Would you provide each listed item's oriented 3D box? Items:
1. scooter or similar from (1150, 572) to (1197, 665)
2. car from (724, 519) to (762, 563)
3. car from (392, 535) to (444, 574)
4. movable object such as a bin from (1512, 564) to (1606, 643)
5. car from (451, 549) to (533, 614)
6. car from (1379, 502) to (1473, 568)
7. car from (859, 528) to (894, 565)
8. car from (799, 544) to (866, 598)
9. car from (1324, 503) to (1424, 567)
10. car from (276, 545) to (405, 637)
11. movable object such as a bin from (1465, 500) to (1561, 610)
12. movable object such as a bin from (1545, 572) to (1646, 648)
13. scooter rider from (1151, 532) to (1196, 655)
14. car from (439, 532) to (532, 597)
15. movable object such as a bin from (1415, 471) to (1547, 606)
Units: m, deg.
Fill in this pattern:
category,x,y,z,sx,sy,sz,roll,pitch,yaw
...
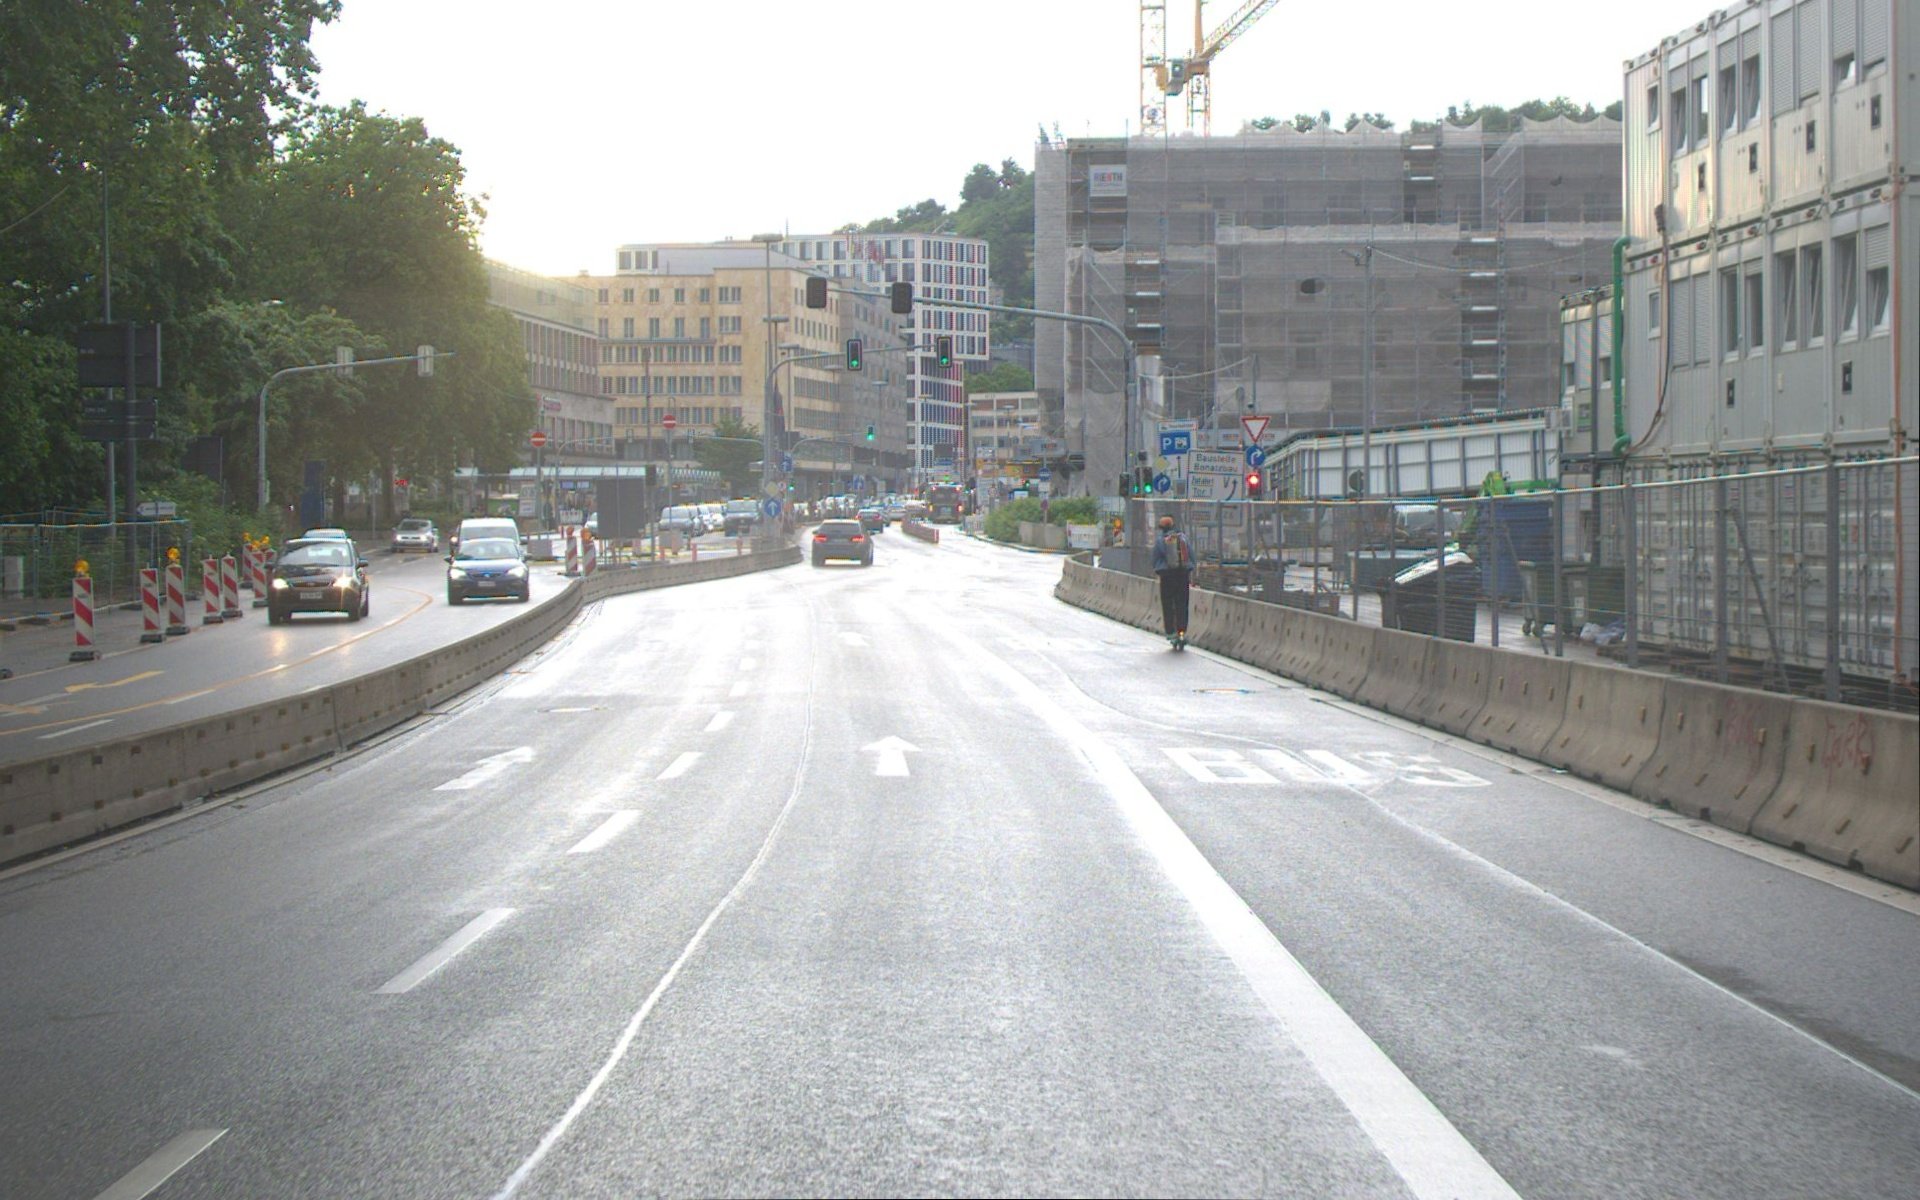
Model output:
category,x,y,z,sx,sy,sz,roll,pitch,yaw
scooter or similar,3.116,0.256,50.225,0.597,1.314,1.667,0,1,0
car,-11.420,-3.088,180.721,1.902,2.075,4.178,-2,-1,-4
car,-23.683,-1.982,150.348,1.993,1.536,4.446,-2,-1,-6
movable object such as a bin,9.867,0.067,56.680,1.246,1.232,1.239,-2,-1,-3
car,-10.457,-0.419,77.029,1.711,1.334,4.063,-2,1,-7
car,13.773,-1.959,101.858,1.846,1.800,5.087,0,3,-3
car,-4.958,-3.167,204.854,1.993,2.007,4.000,-2,-1,-1
car,-4.047,-0.898,108.743,1.902,1.523,4.178,-2,-1,-4
car,12.944,-2.057,107.791,1.911,1.968,5.164,0,1,-7
car,-12.113,-0.209,67.458,2.030,1.647,4.320,-1,2,-4
movable object such as a bin,11.316,-0.933,70.352,1.456,2.195,1.265,-1,3,-25
movable object such as a bin,9.874,0.165,53.488,1.246,1.119,1.239,-2,-1,-3
scooter rider,3.112,-0.106,50.200,0.597,1.779,0.997,0,1,0
car,-13.033,-0.982,94.684,2.030,1.647,4.912,-2,1,-3
movable object such as a bin,11.212,-1.357,74.236,1.806,2.799,3.867,0,3,-7
